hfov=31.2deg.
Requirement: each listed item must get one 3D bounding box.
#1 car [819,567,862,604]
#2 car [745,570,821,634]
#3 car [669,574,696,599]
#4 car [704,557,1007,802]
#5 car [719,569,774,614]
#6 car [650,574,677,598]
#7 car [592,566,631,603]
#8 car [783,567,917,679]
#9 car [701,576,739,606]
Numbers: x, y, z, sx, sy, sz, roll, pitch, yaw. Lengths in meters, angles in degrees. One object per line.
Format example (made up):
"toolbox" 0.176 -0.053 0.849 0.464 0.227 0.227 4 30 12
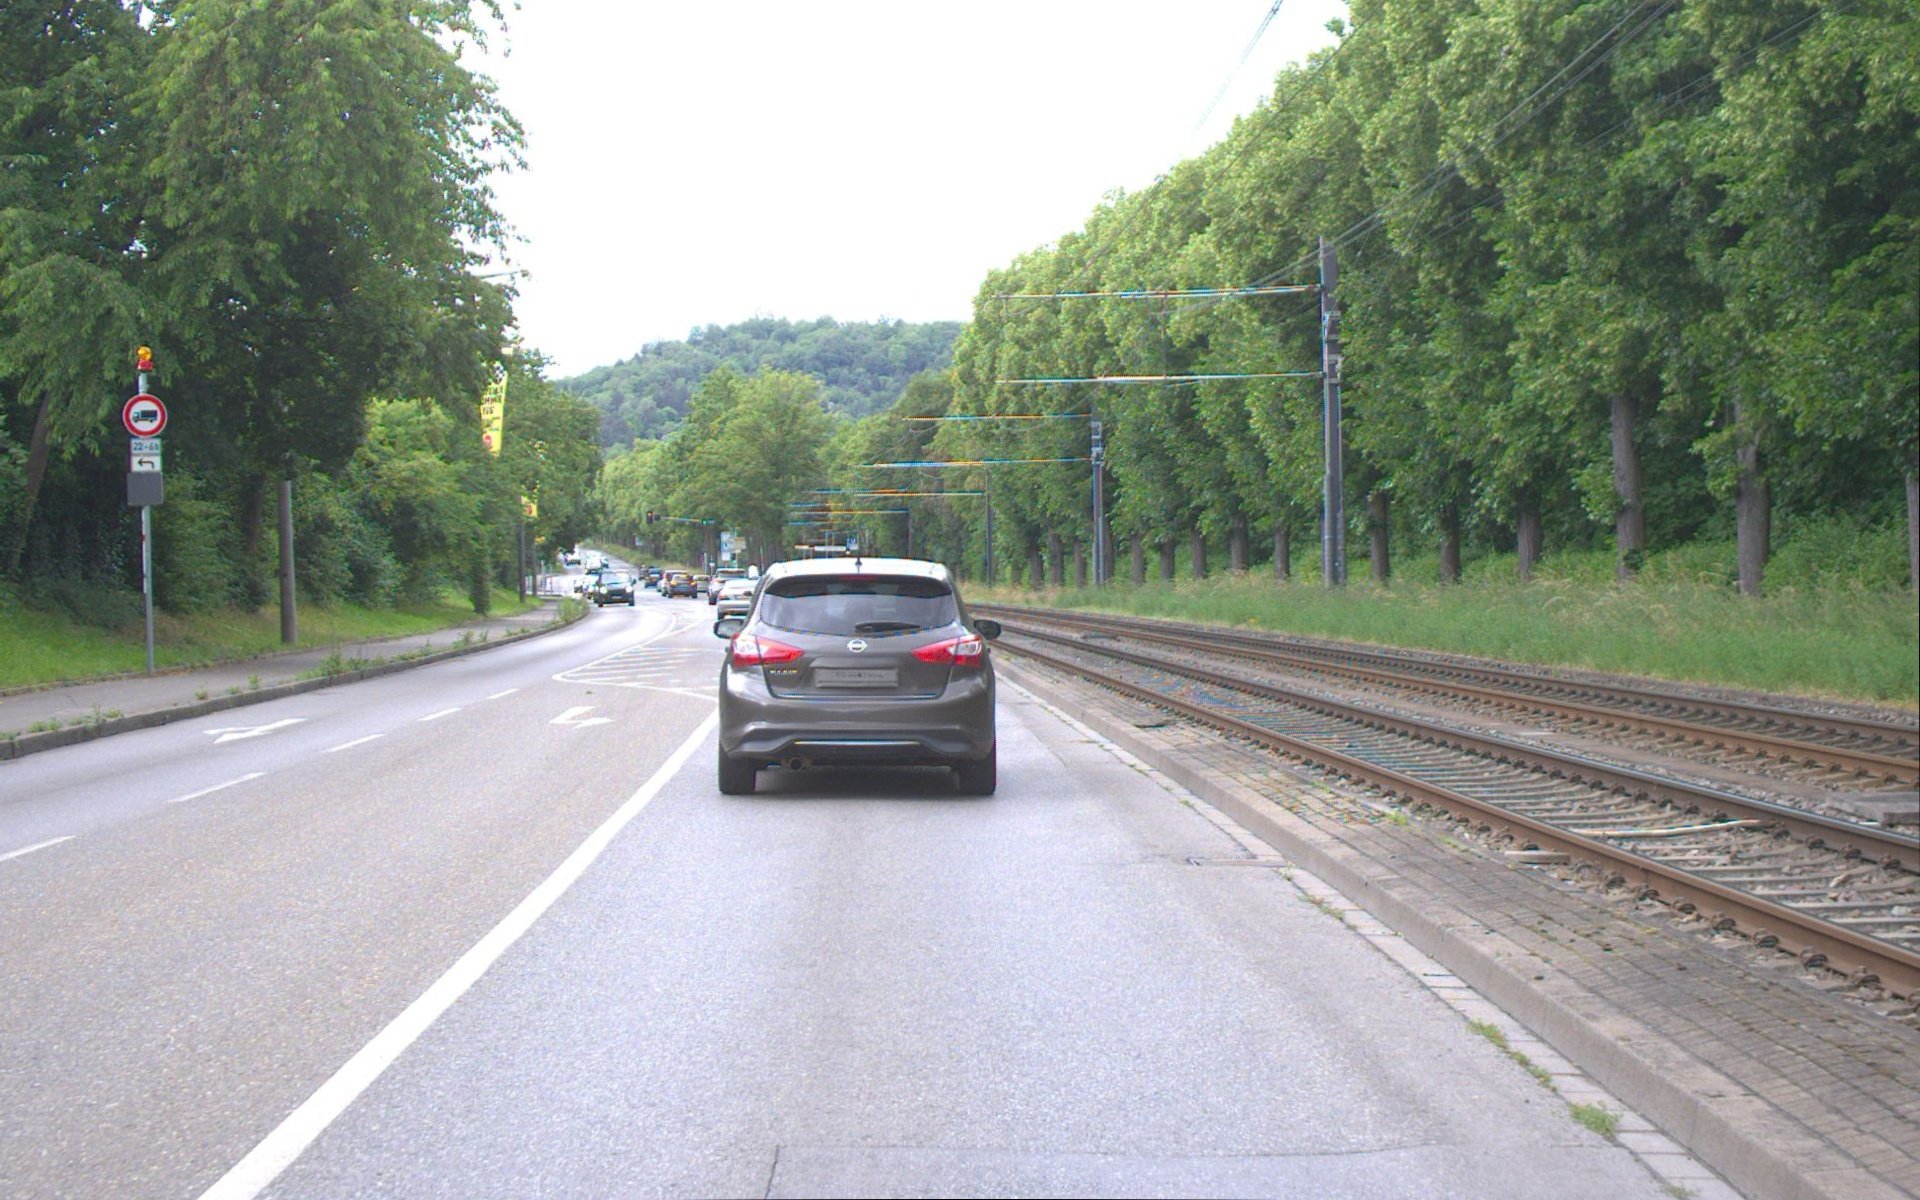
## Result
"car" -4.749 -0.577 136.422 1.699 1.439 4.000 0 0 -2
"car" -4.077 0.044 79.691 1.699 1.439 4.000 0 0 -2
"car" -18.961 -0.919 234.908 1.699 1.708 4.000 0 0 -2
"car" -0.672 0.462 23.036 1.850 1.488 4.000 0 1 -1
"car" -6.973 -0.284 112.421 1.699 1.439 4.000 0 0 -2
"car" -21.250 -1.015 246.411 1.699 1.708 4.000 0 0 -2
"car" -19.468 -0.850 192.229 1.993 2.029 5.117 -1 0 -4
"car" -1.522 0.293 46.324 1.699 1.439 4.000 0 0 -3
"car" -12.181 -0.465 174.723 1.794 1.505 4.000 0 0 -2
